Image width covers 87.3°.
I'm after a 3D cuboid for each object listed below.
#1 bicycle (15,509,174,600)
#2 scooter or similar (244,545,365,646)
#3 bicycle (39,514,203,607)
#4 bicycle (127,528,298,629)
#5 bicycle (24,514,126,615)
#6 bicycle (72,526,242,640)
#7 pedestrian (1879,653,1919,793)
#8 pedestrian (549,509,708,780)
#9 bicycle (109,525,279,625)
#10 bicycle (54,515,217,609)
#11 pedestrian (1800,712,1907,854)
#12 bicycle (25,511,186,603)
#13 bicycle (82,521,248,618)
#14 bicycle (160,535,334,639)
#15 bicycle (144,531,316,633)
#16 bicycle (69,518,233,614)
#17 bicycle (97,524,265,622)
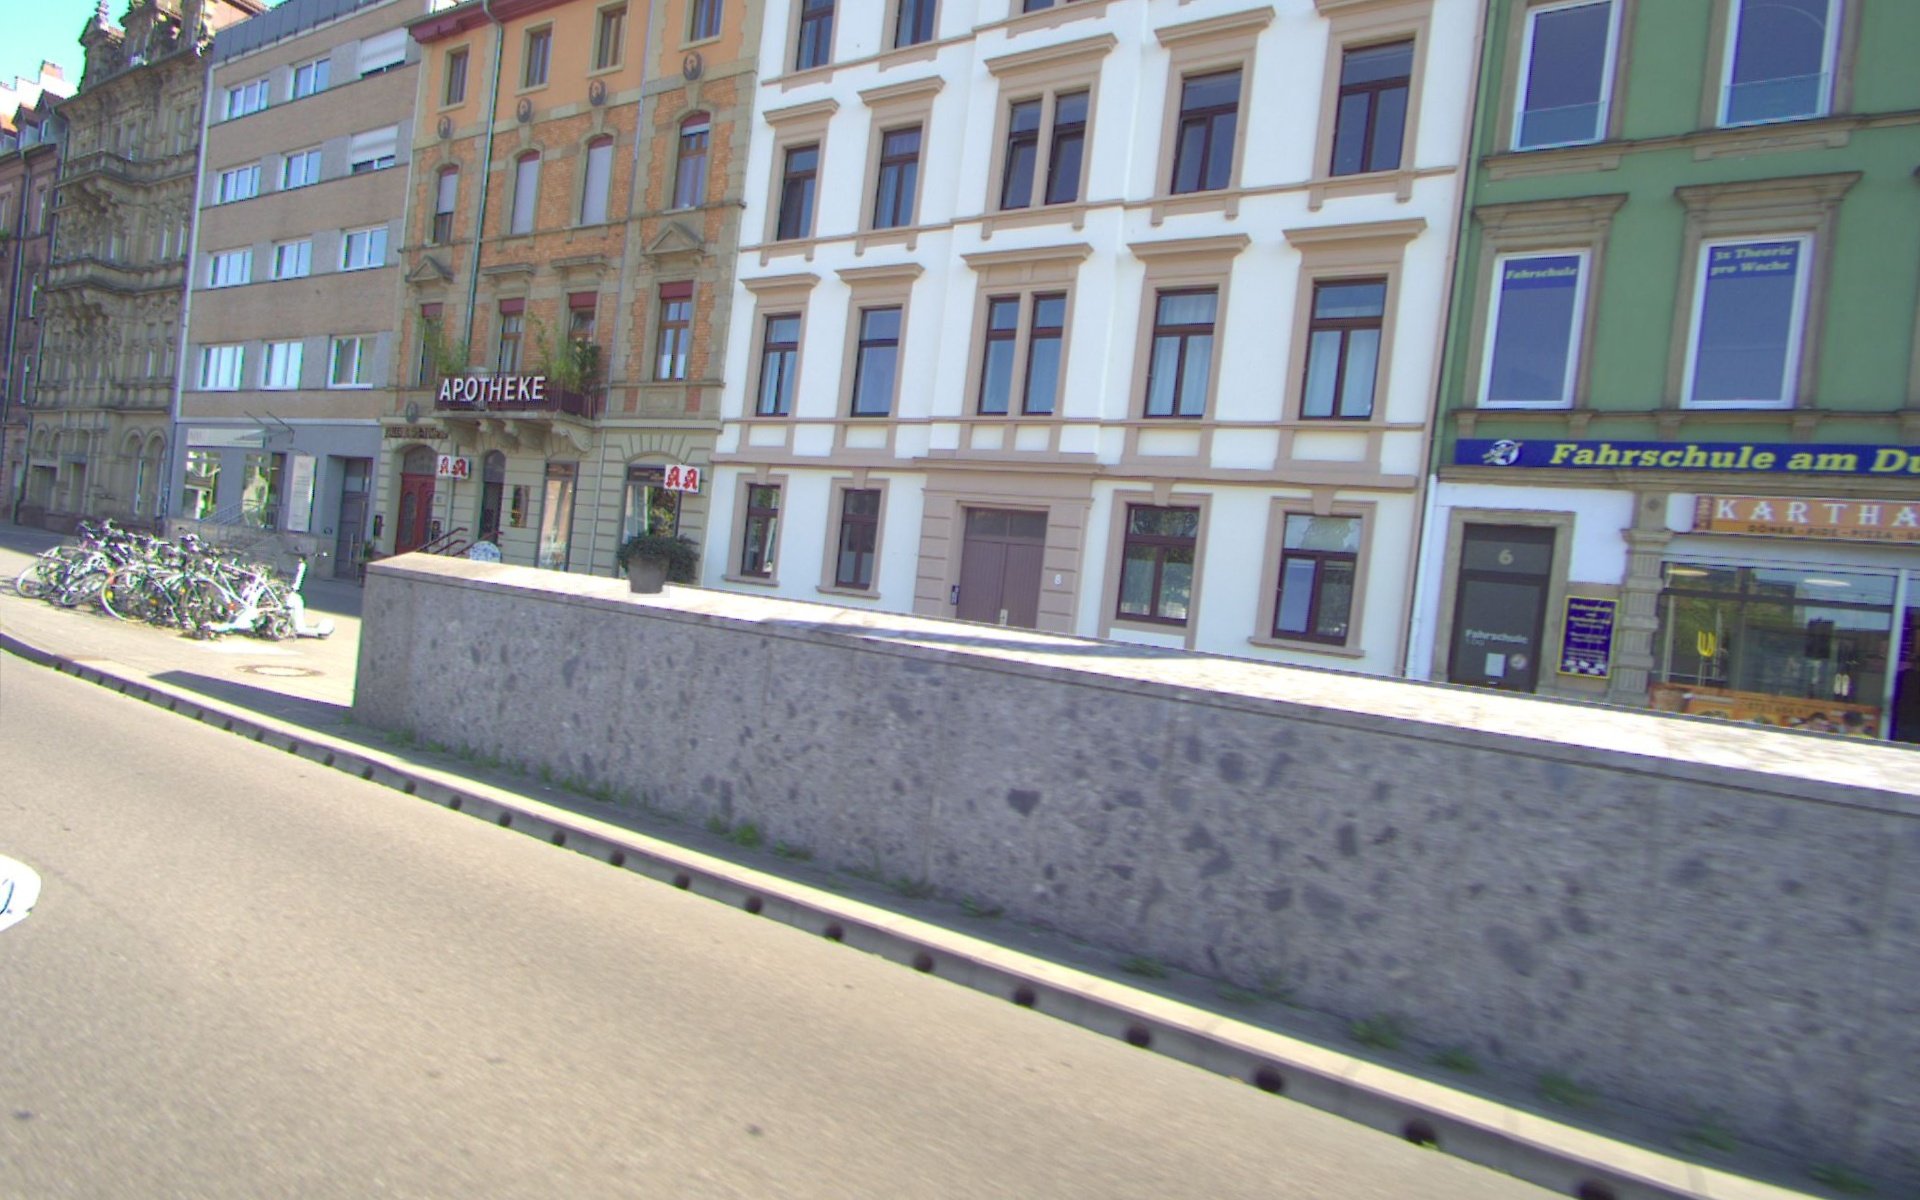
[{"bbox_3d":[-13.720,-0.699,16.002,0.462,1.202,1.768,8,0,31],"label":"bicycle"},{"bbox_3d":[-8.687,-0.035,13.388,0.630,1.230,1.210,6,-1,5],"label":"scooter or similar"},{"bbox_3d":[-12.882,-0.578,15.508,0.462,1.202,1.794,8,0,31],"label":"bicycle"},{"bbox_3d":[-10.341,-0.264,13.989,0.462,1.202,1.768,8,0,31],"label":"bicycle"},{"bbox_3d":[-12.127,-0.498,13.766,1.741,1.161,0.469,8,1,32],"label":"bicycle"},{"bbox_3d":[-9.869,-0.204,12.376,1.737,1.161,0.470,8,1,8],"label":"bicycle"},{"bbox_3d":[12.275,1.587,12.889,0.584,1.733,0.514,7,1,44],"label":"pedestrian"},{"bbox_3d":[-2.711,0.352,8.241,0.686,2.040,0.751,10,4,31],"label":"pedestrian"},{"bbox_3d":[-10.776,-0.322,14.215,0.462,1.202,1.768,8,0,31],"label":"bicycle"},{"bbox_3d":[-12.461,-0.550,15.272,0.462,1.202,1.768,8,0,31],"label":"bicycle"},{"bbox_3d":[9.337,1.894,10.535,0.581,1.336,0.516,7,1,24],"label":"pedestrian"},{"bbox_3d":[-13.317,-0.649,15.734,0.462,1.202,1.768,8,0,31],"label":"bicycle"},{"bbox_3d":[-11.615,-0.415,14.769,0.462,1.202,1.768,8,0,31],"label":"bicycle"},{"bbox_3d":[-9.506,-0.142,13.484,0.462,1.193,1.768,8,0,31],"label":"bicycle"},{"bbox_3d":[-9.920,-0.213,13.744,0.462,1.193,1.768,8,0,31],"label":"bicycle"},{"bbox_3d":[-12.033,-0.475,15.027,0.462,1.202,1.768,8,0,31],"label":"bicycle"},{"bbox_3d":[-11.181,-0.358,14.507,0.462,1.202,1.768,8,0,31],"label":"bicycle"}]
